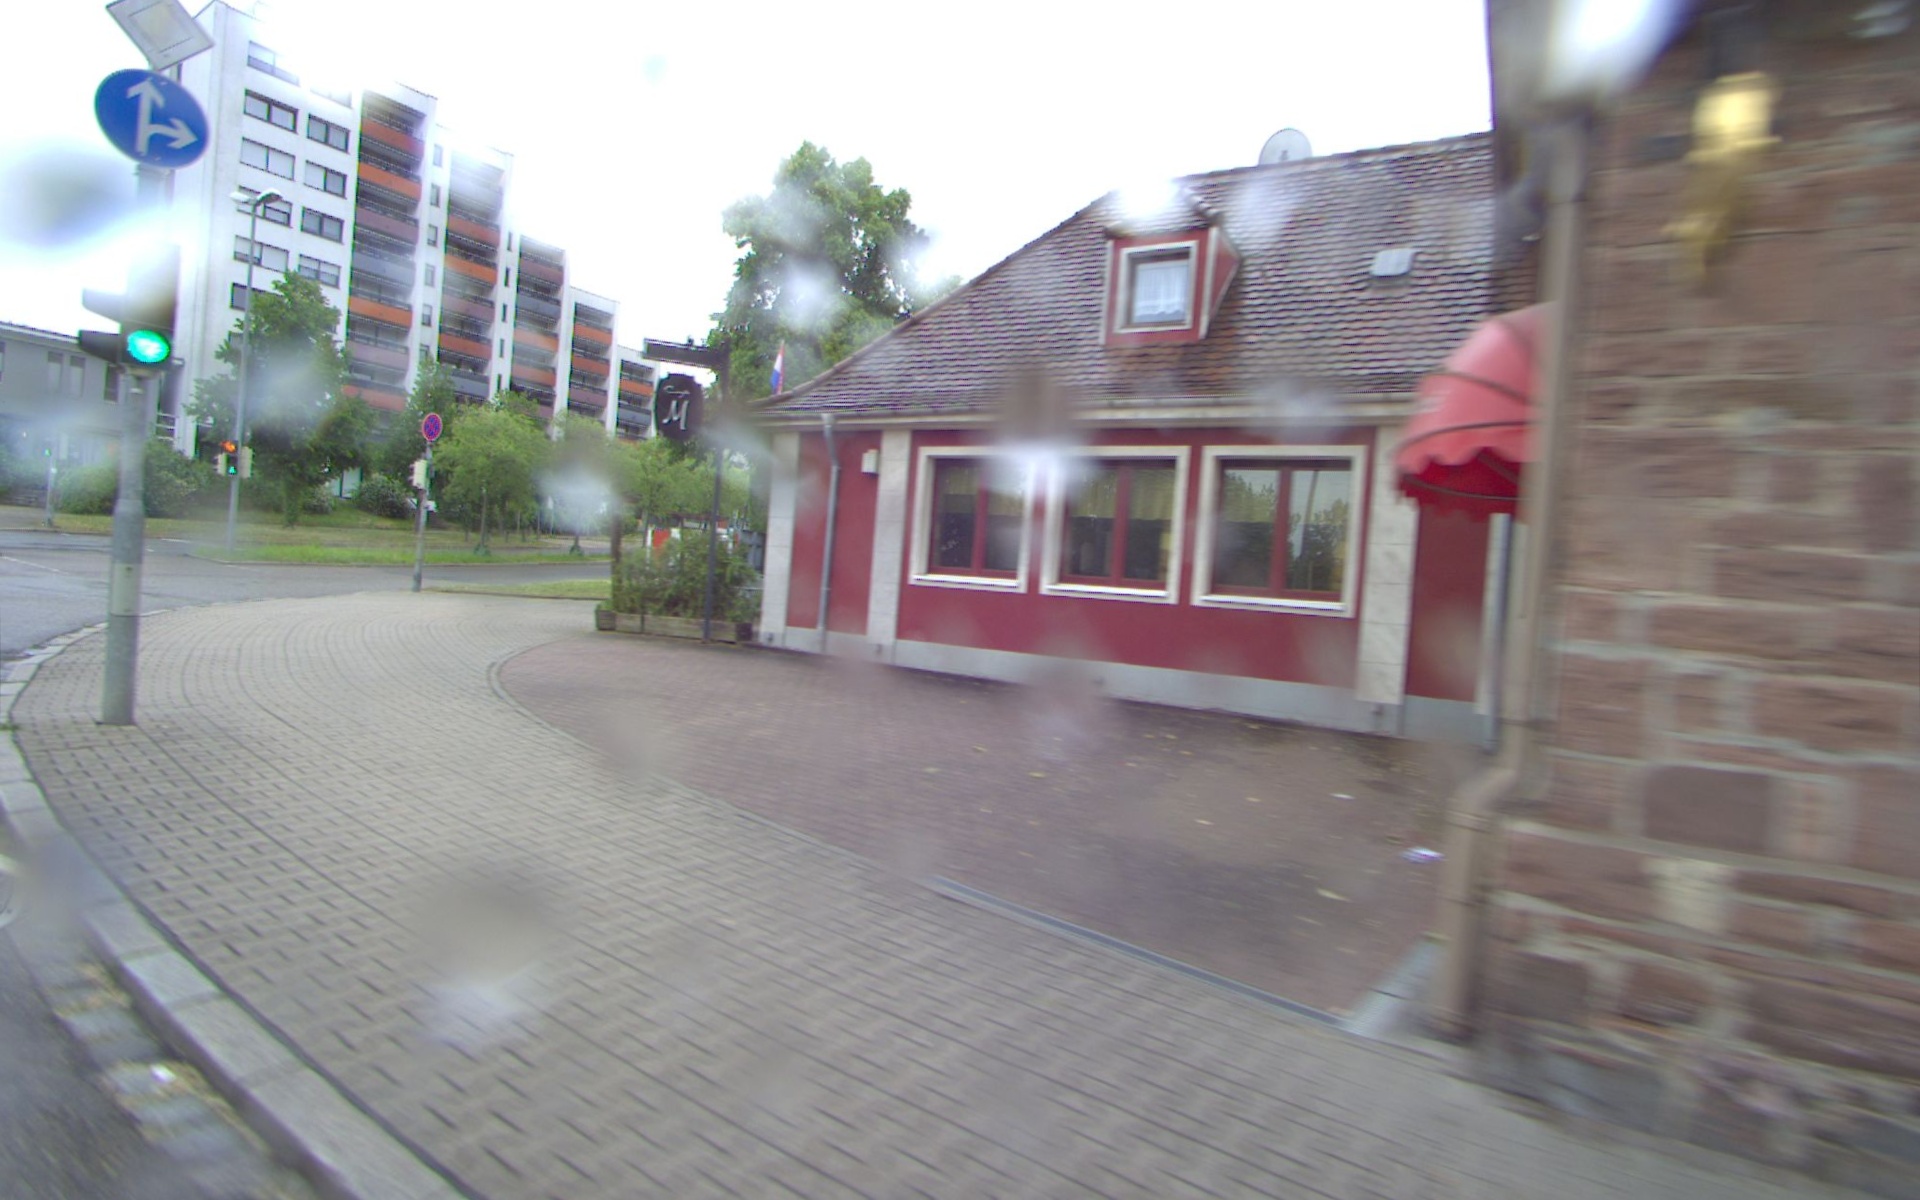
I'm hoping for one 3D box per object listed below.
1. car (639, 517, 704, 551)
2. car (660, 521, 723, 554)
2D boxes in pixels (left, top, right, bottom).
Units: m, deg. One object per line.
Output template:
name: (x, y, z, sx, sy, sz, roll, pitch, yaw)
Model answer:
car: (-22.373, -5.138, 78.101, 4.283, 2.038, 2.001, 6, -1, 16)
car: (-21.501, -4.976, 80.698, 4.283, 2.038, 2.001, 6, -1, 16)
